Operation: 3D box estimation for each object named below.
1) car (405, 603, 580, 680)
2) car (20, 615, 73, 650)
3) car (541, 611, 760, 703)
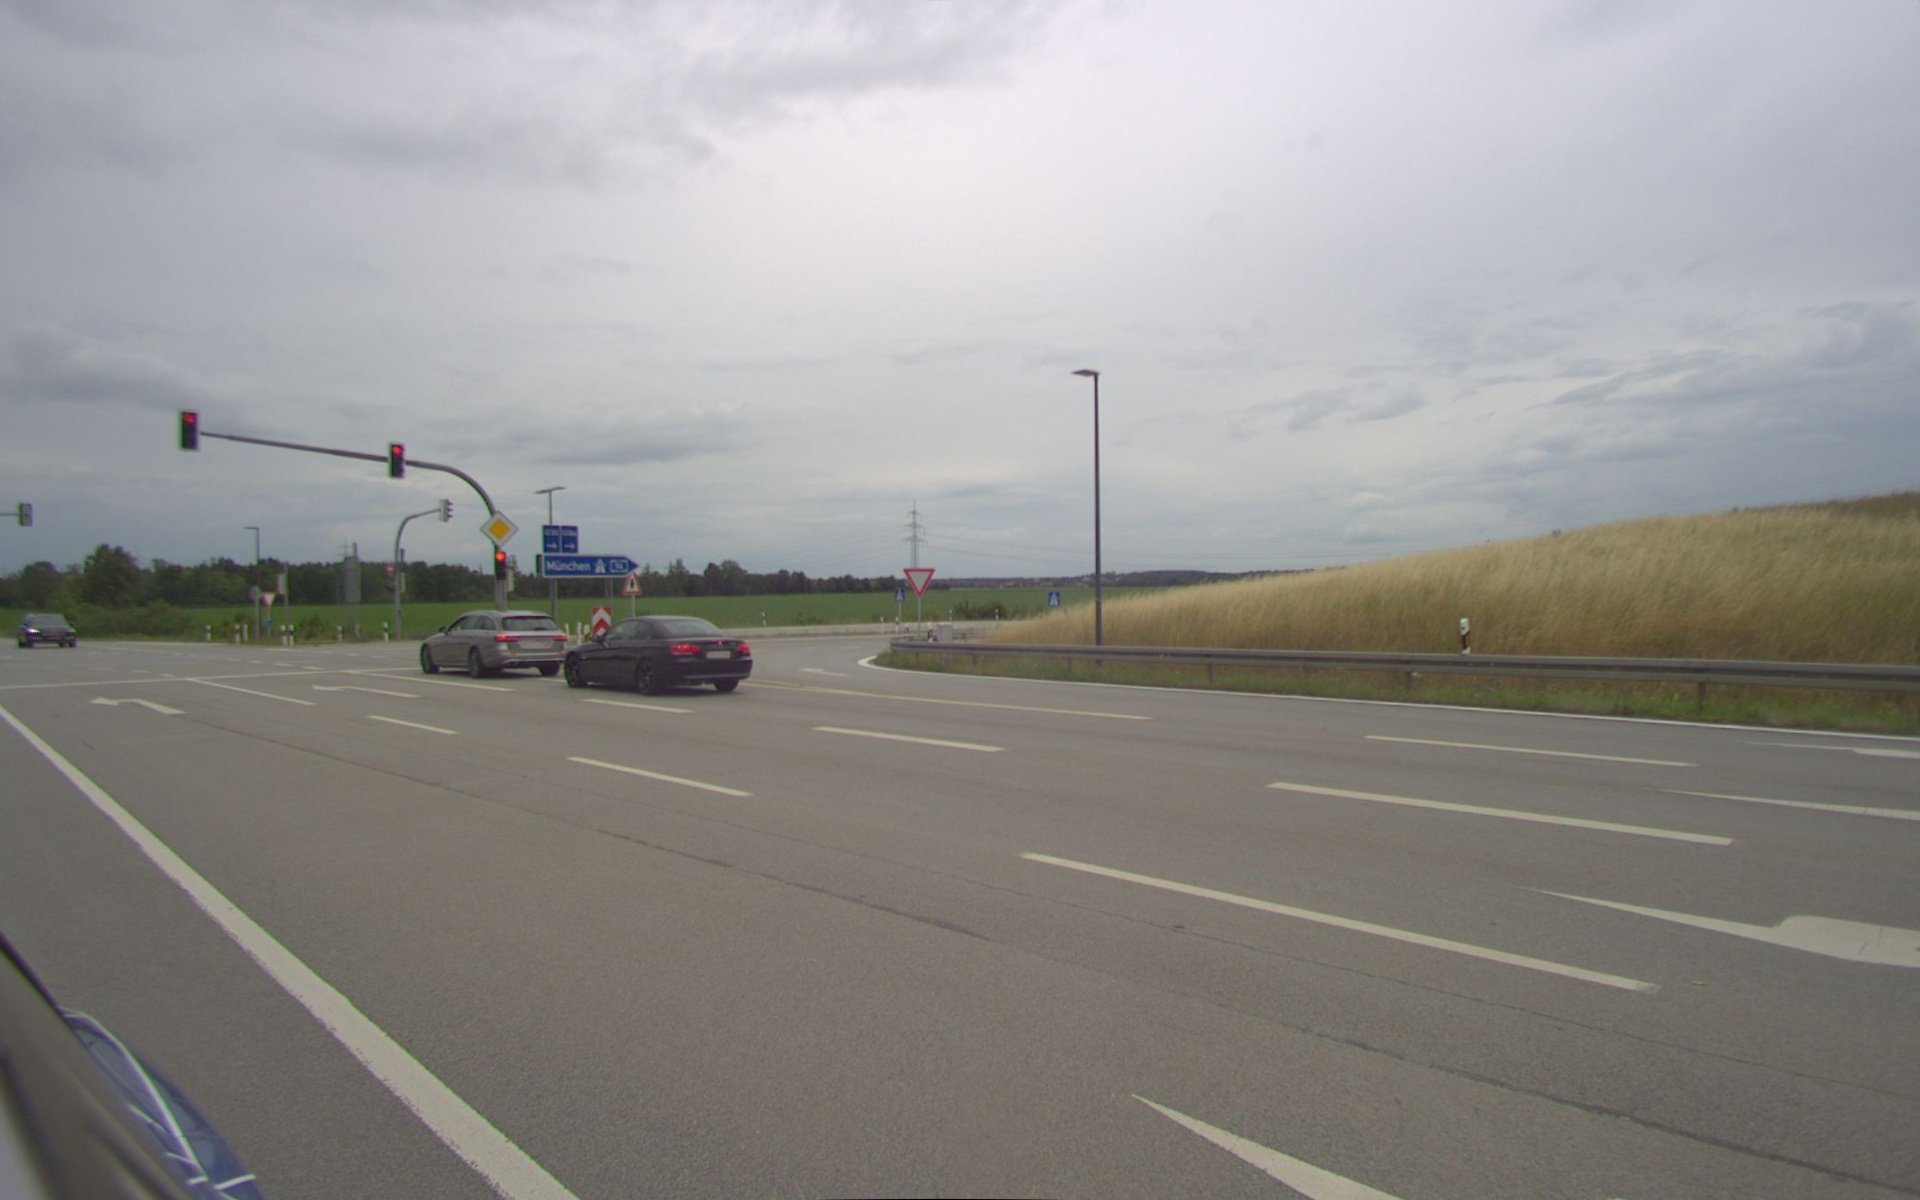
[{"bbox_3d":[-10.917,0.921,23.476,4.947,1.622,1.894,-1,-2,42],"label":"car"},{"bbox_3d":[-47.721,1.688,52.839,1.970,1.696,5.004,-1,0,-43],"label":"car"},{"bbox_3d":[-5.778,0.940,18.545,4.673,1.421,1.689,0,1,42],"label":"car"}]
